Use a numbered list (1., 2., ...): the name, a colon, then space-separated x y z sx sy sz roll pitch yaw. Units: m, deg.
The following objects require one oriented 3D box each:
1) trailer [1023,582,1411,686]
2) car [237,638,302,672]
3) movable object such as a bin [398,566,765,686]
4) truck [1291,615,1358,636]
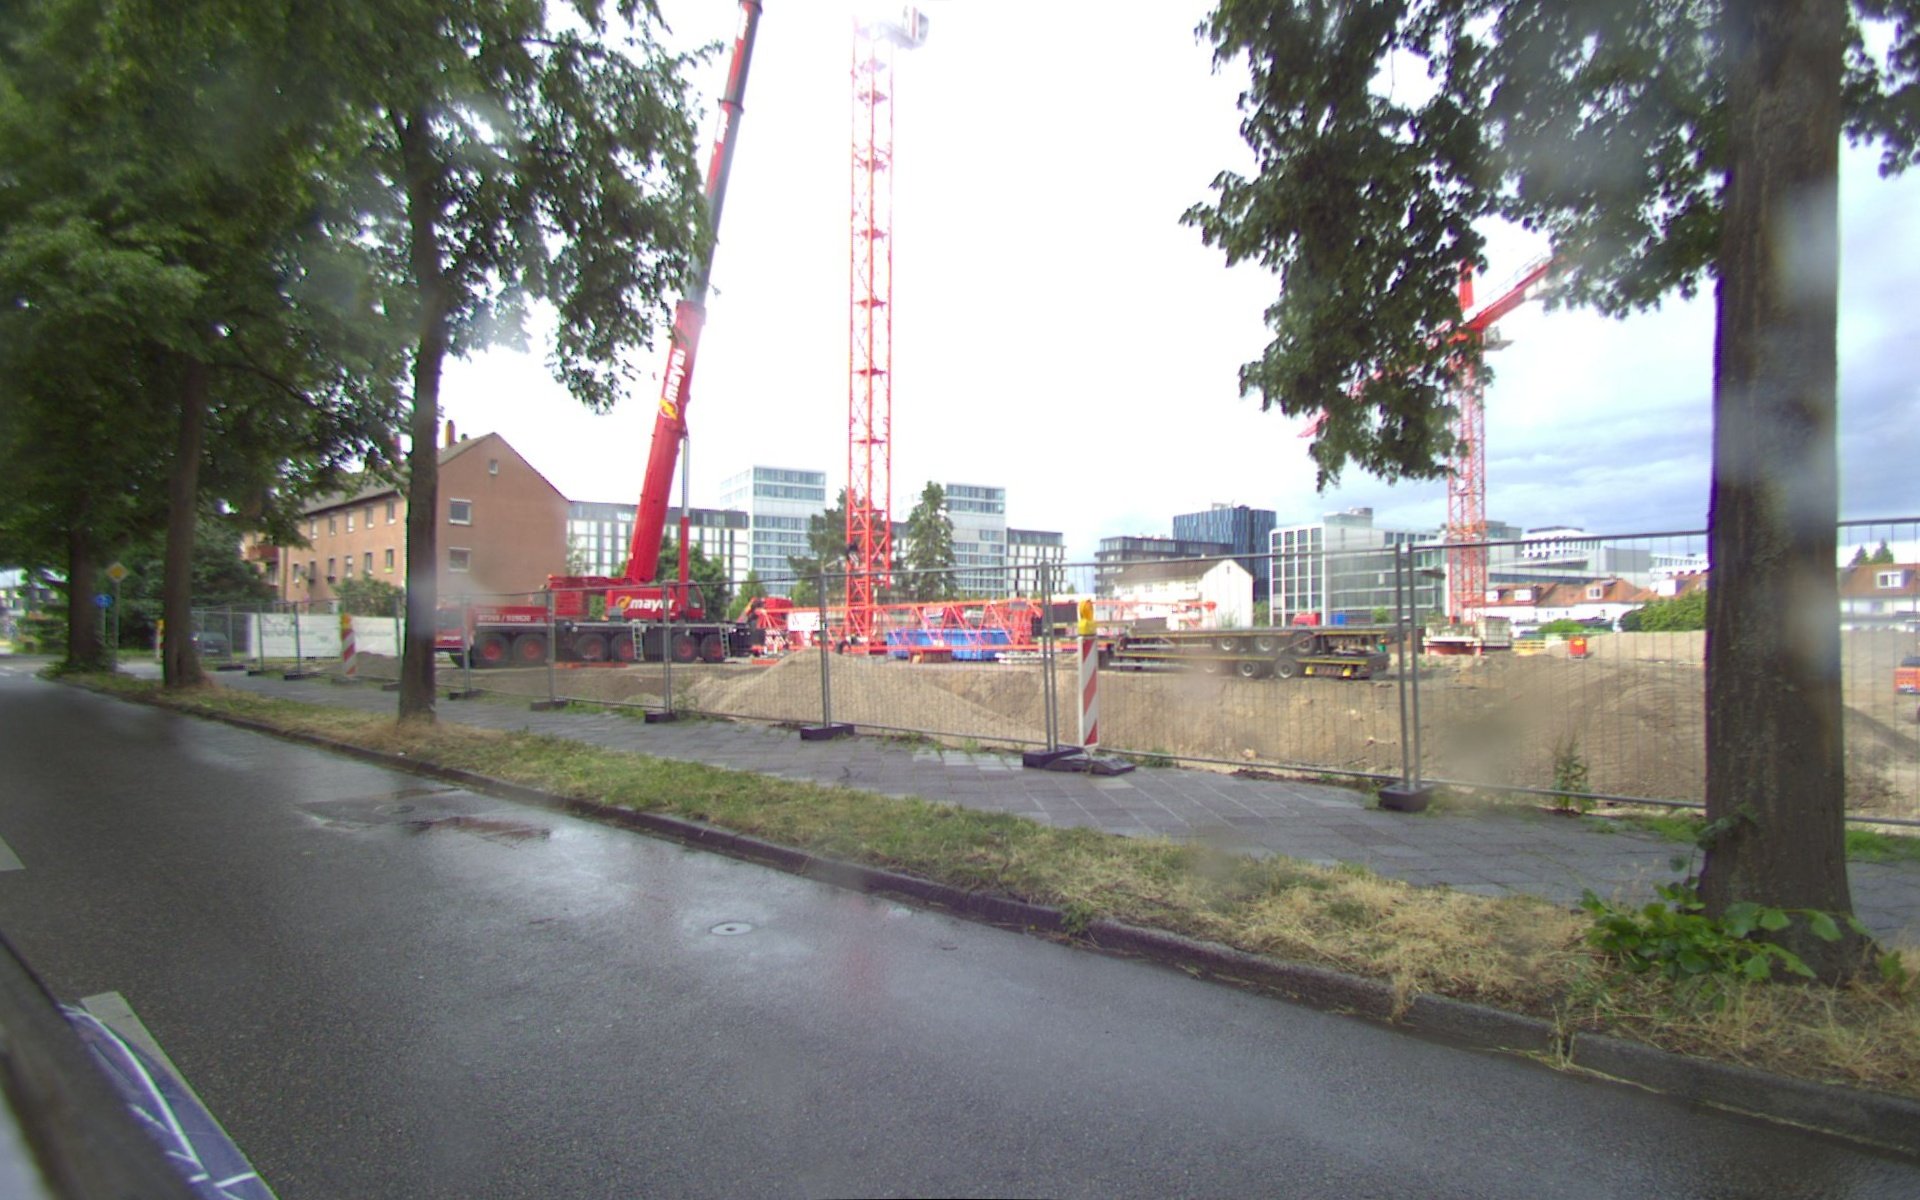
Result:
1. trailer: 8.980 1.135 38.025 14.302 3.257 2.930 -1 1 41
2. car: -34.487 2.719 50.512 3.996 1.541 1.672 -1 0 39
3. movable object such as a bin: -16.280 0.980 45.688 3.103 4.593 15.727 -1 0 44
4. truck: 37.451 2.634 103.980 6.292 2.095 1.884 -1 0 25
